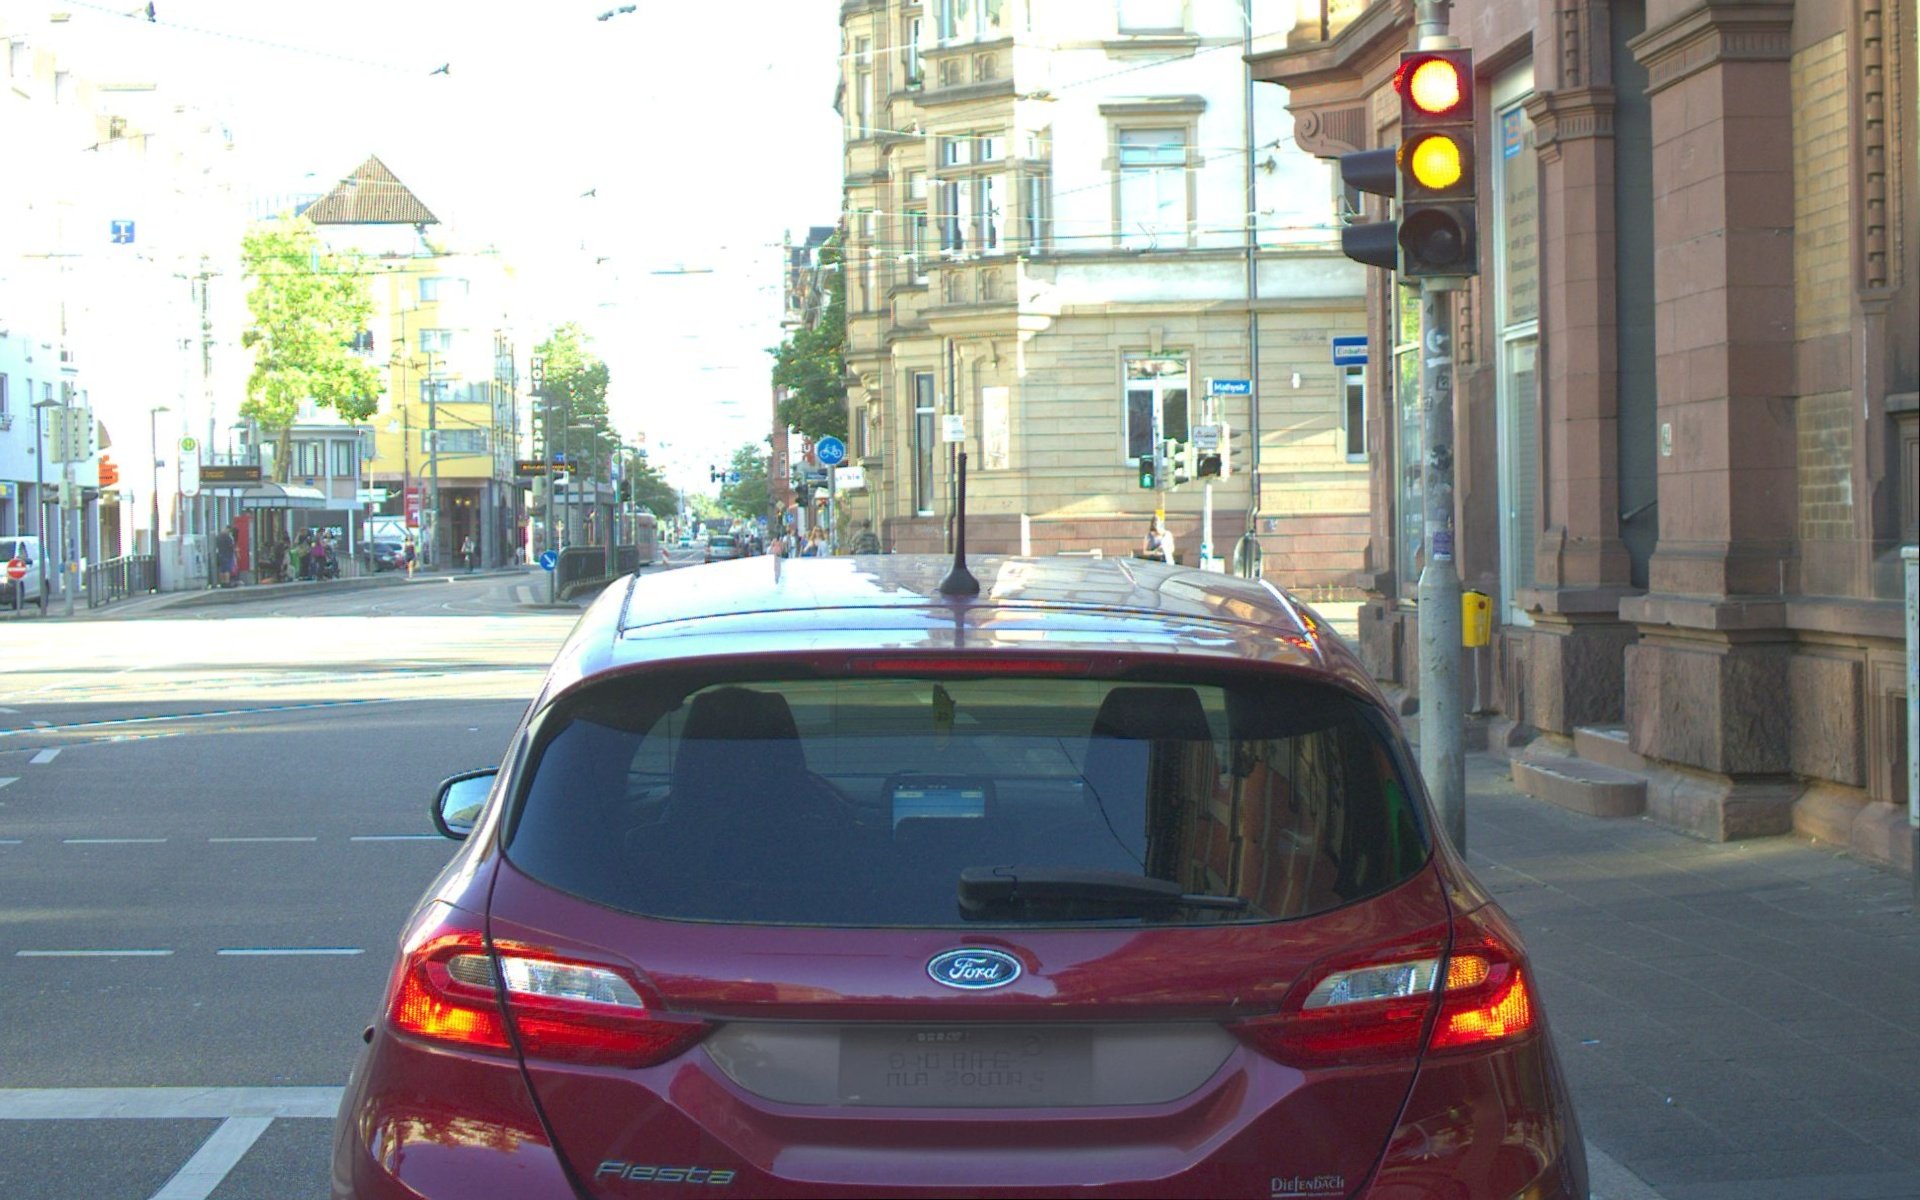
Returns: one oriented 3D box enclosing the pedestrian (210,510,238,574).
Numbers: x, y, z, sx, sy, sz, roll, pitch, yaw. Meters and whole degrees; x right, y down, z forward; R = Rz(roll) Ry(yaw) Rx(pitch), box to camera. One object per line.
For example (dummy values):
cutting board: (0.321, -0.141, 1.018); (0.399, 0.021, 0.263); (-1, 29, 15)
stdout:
pedestrian: (-19.356, -1.529, 90.426); (0.598, 1.686, 0.613); (-1, 1, -3)

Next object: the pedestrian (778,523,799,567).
pedestrian: (-7.030, -2.248, 140.802); (0.713, 1.768, 0.773); (-4, 2, -6)

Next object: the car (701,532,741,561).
car: (-12.103, -2.714, 174.206); (1.993, 1.444, 4.001); (0, 1, -4)

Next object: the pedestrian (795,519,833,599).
pedestrian: (-3.232, -0.903, 76.036); (0.717, 1.715, 0.797); (-2, 0, -5)

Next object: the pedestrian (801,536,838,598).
pedestrian: (-3.076, -0.711, 75.058); (0.717, 1.327, 0.797); (-2, 0, -5)

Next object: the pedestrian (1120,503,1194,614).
pedestrian: (3.250, -0.698, 56.928); (1.023, 1.800, 1.083); (-1, 1, -7)

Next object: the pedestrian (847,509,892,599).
pedestrian: (-1.865, -0.952, 70.856); (0.800, 1.817, 0.798); (-3, 2, -4)

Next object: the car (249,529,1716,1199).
car: (-0.010, 0.642, 5.788); (1.692, 1.490, 3.580); (1, 1, -1)

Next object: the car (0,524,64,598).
car: (-24.528, -1.014, 88.182); (1.993, 1.831, 5.347); (-1, 1, -4)

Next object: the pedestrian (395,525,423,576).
pedestrian: (-20.917, -1.884, 130.451); (0.878, 1.898, 0.935); (-1, 1, -19)

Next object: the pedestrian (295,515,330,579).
pedestrian: (-19.332, -1.583, 102.672); (0.931, 1.898, 0.881); (-1, 1, -6)

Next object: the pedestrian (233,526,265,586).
pedestrian: (-19.976, -1.241, 96.591); (0.695, 1.685, 0.672); (-1, 1, -27)

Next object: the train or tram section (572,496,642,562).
train or tram section: (-19.448, -3.889, 190.126); (2.885, 3.478, 14.169); (1, 1, -2)

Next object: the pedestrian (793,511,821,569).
pedestrian: (-4.766, -1.880, 107.259); (0.713, 1.768, 0.773); (-4, 2, -6)

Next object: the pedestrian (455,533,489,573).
pedestrian: (-23.794, -2.296, 167.570); (1.343, 1.898, 1.474); (-1, 1, -19)

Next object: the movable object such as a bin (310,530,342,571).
movable object such as a bin: (-20.133, -1.575, 109.189); (0.937, 1.282, 0.935); (-1, 1, -6)

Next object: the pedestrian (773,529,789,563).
pedestrian: (-8.959, -2.711, 172.171); (0.751, 1.655, 0.650); (1, 0, -1)

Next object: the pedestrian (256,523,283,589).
pedestrian: (-20.174, -1.283, 100.491); (0.695, 1.898, 0.672); (-1, 1, -6)
